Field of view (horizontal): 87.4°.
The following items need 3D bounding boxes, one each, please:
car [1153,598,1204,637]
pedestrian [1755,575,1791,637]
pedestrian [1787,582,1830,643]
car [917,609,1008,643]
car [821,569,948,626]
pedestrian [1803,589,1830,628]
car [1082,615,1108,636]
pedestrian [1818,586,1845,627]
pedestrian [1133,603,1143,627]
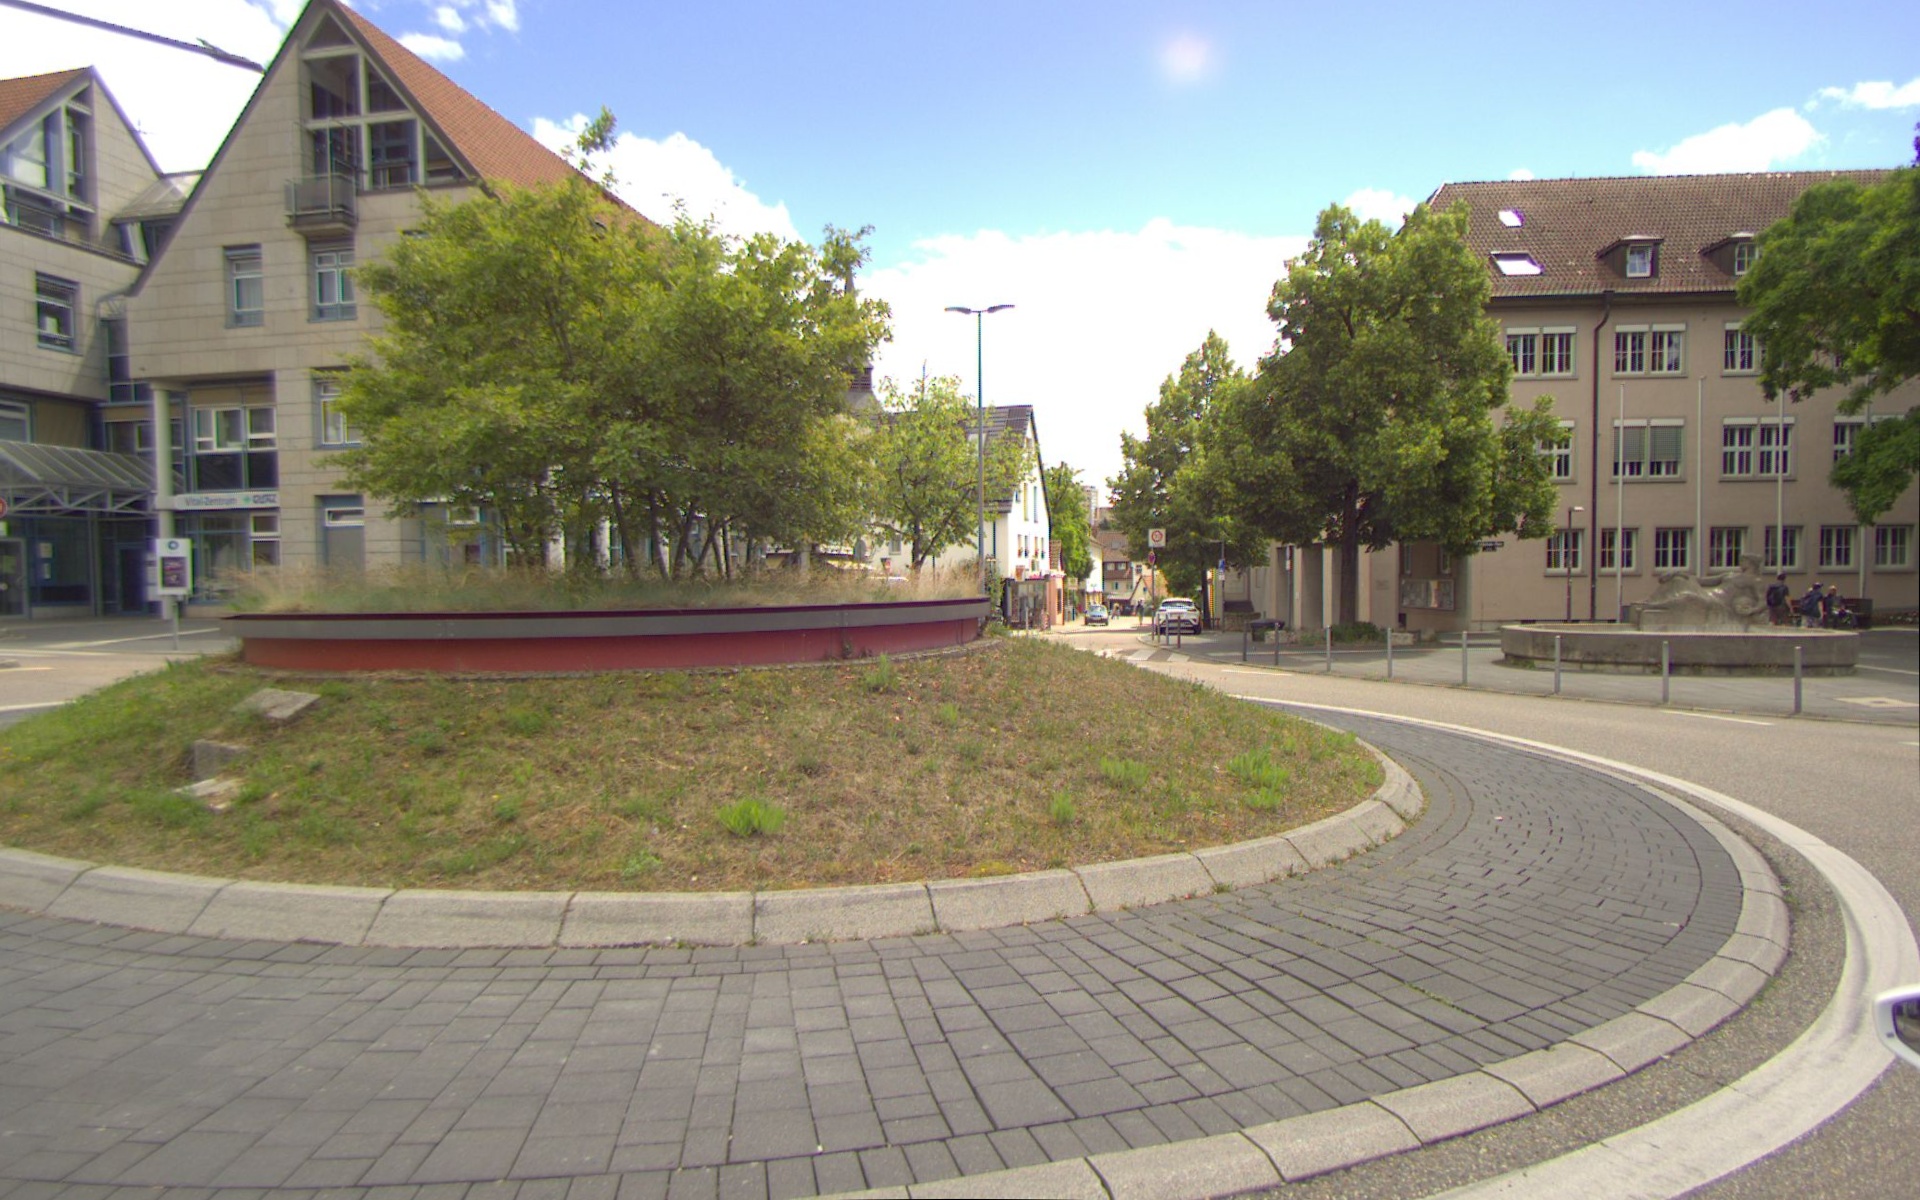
[{"bbox_3d":[9.248,0.696,42.334,1.944,1.551,4.002,1,1,14],"label":"car"},{"bbox_3d":[22.009,0.164,27.203,0.563,1.631,0.437,1,5,21],"label":"pedestrian"},{"bbox_3d":[22.143,0.313,26.219,0.626,1.545,0.577,1,5,21],"label":"pedestrian"},{"bbox_3d":[0.108,1.199,47.269,3.924,1.439,1.689,1,1,25],"label":"car"},{"bbox_3d":[-3.750,-0.092,50.651,6.184,2.593,2.206,2,-2,-3],"label":"car"},{"bbox_3d":[26.335,0.257,30.868,0.575,1.198,0.483,1,1,-37],"label":"pedestrian"},{"bbox_3d":[9.476,1.782,70.650,1.697,1.283,4.002,1,1,6],"label":"car"},{"bbox_3d":[27.077,0.200,31.195,0.575,1.238,0.483,1,1,-37],"label":"pedestrian"},{"bbox_3d":[11.854,0.962,66.817,0.585,1.569,0.581,2,1,11],"label":"pedestrian"}]
